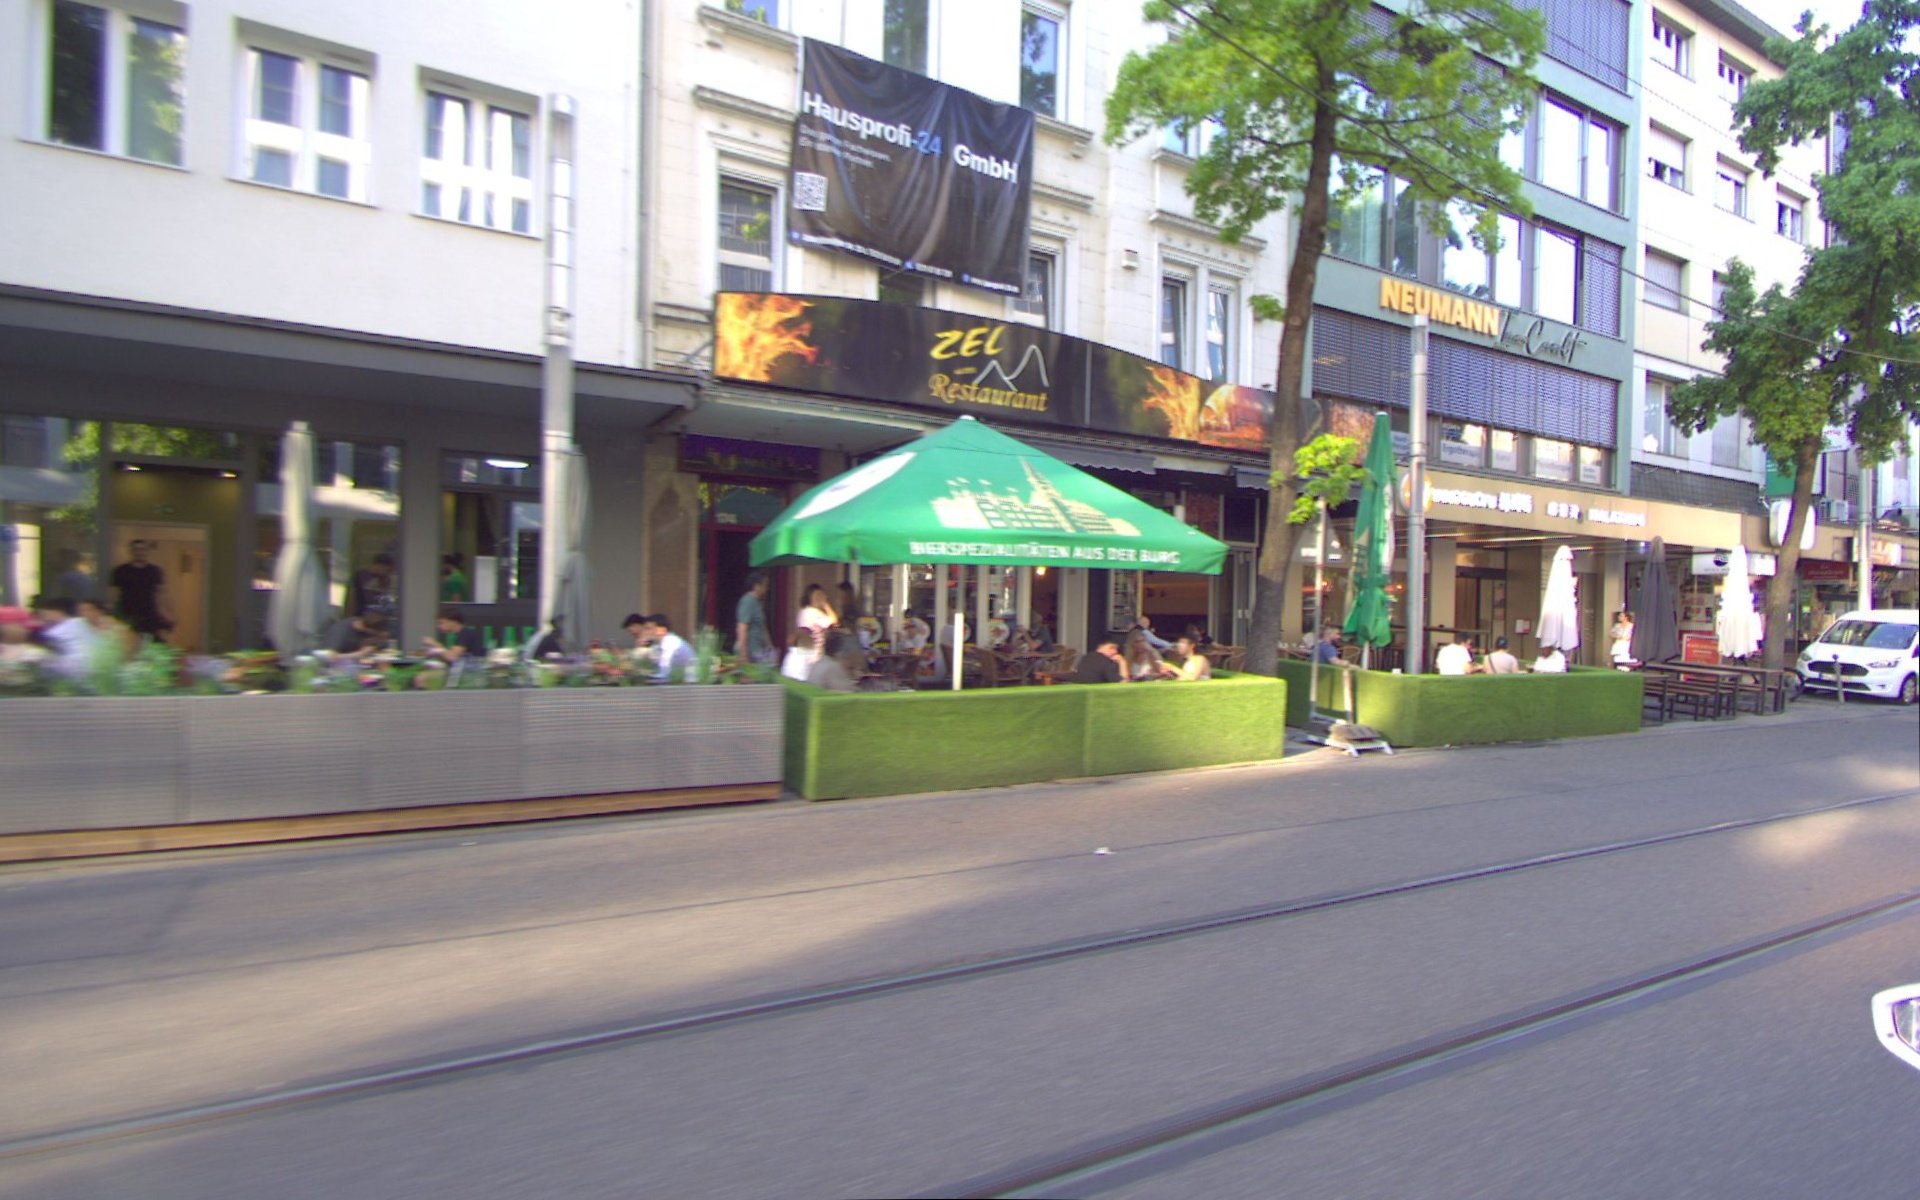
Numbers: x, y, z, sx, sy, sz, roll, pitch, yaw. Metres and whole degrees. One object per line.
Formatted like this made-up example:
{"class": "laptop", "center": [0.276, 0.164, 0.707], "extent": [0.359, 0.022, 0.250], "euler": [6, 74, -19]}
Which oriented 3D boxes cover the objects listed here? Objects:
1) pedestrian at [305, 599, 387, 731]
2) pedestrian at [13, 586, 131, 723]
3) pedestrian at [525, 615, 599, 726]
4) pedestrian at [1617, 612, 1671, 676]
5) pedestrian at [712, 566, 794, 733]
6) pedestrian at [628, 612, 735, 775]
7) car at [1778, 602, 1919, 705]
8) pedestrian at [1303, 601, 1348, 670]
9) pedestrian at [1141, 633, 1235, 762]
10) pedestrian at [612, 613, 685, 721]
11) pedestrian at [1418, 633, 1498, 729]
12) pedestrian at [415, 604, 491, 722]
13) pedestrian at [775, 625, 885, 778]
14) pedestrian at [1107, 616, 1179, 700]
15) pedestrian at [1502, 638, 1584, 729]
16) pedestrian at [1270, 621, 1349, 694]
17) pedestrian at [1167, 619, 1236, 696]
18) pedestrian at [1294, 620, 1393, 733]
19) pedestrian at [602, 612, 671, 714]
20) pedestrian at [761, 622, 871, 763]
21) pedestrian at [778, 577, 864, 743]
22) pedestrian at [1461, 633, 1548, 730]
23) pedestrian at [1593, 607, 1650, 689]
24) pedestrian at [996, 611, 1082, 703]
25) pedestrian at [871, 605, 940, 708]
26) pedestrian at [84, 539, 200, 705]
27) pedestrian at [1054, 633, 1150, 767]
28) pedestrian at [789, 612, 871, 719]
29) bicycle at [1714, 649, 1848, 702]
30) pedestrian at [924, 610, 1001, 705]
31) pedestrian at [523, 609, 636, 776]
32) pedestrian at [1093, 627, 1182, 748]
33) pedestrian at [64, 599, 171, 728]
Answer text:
{"class": "pedestrian", "center": [-6.403, 0.660, 10.496], "extent": [0.678, 1.316, 0.599], "euler": [1, 1, -29]}
{"class": "pedestrian", "center": [-8.021, 0.476, 9.098], "extent": [0.678, 1.177, 0.550], "euler": [1, 1, -29]}
{"class": "pedestrian", "center": [-4.442, 0.768, 11.207], "extent": [0.678, 1.177, 0.550], "euler": [1, 1, -29]}
{"class": "pedestrian", "center": [16.799, 1.072, 24.670], "extent": [0.756, 1.486, 0.765], "euler": [1, 3, -32]}
{"class": "pedestrian", "center": [-2.309, 0.524, 11.161], "extent": [0.688, 1.780, 0.675], "euler": [1, 2, -28]}
{"class": "pedestrian", "center": [-2.516, 0.811, 9.049], "extent": [0.771, 1.365, 0.705], "euler": [1, 1, -27]}
{"class": "car", "center": [19.403, 1.072, 21.118], "extent": [4.498, 1.890, 1.787], "euler": [1, 2, -29]}
{"class": "pedestrian", "center": [9.185, 0.890, 25.271], "extent": [0.724, 1.673, 0.695], "euler": [1, 2, -28]}
{"class": "pedestrian", "center": [2.414, 1.008, 10.654], "extent": [0.689, 1.262, 0.616], "euler": [1, 3, -30]}
{"class": "pedestrian", "center": [-3.620, 0.761, 11.674], "extent": [0.679, 1.190, 0.599], "euler": [1, 1, -29]}
{"class": "pedestrian", "center": [7.268, 1.161, 14.666], "extent": [0.788, 1.310, 0.653], "euler": [1, 3, -30]}
{"class": "pedestrian", "center": [-5.333, 0.649, 10.561], "extent": [0.678, 1.177, 0.550], "euler": [1, 1, -29]}
{"class": "pedestrian", "center": [-1.185, 0.887, 9.078], "extent": [0.762, 1.276, 0.705], "euler": [1, 1, -27]}
{"class": "pedestrian", "center": [2.856, 0.892, 15.720], "extent": [0.779, 1.230, 0.733], "euler": [1, 3, -30]}
{"class": "pedestrian", "center": [8.382, 1.181, 14.452], "extent": [0.788, 1.209, 0.653], "euler": [1, 3, -30]}
{"class": "pedestrian", "center": [6.143, 0.995, 17.654], "extent": [1.052, 1.204, 0.749], "euler": [1, 3, -30]}
{"class": "pedestrian", "center": [3.943, 0.925, 16.389], "extent": [0.779, 1.184, 0.696], "euler": [1, 3, -30]}
{"class": "pedestrian", "center": [4.964, 0.965, 13.021], "extent": [0.862, 1.361, 0.750], "euler": [1, 3, -30]}
{"class": "pedestrian", "center": [-3.946, 0.752, 12.248], "extent": [0.679, 1.173, 0.599], "euler": [1, 1, -29]}
{"class": "pedestrian", "center": [-1.423, 0.875, 9.849], "extent": [0.858, 1.276, 0.705], "euler": [1, 1, -27]}
{"class": "pedestrian", "center": [-1.493, 0.618, 10.756], "extent": [0.689, 1.693, 0.616], "euler": [1, 2, -30]}
{"class": "pedestrian", "center": [7.605, 1.124, 14.048], "extent": [0.862, 1.261, 0.653], "euler": [1, 3, -30]}
{"class": "pedestrian", "center": [13.457, 0.973, 20.443], "extent": [0.692, 1.595, 0.644], "euler": [1, 2, -30]}
{"class": "pedestrian", "center": [1.149, 0.821, 14.727], "extent": [0.934, 1.254, 0.773], "euler": [1, 3, -30]}
{"class": "pedestrian", "center": [-0.751, 0.757, 13.705], "extent": [0.689, 1.327, 0.616], "euler": [1, 3, -30]}
{"class": "pedestrian", "center": [-9.480, 0.240, 11.665], "extent": [0.673, 1.844, 0.767], "euler": [2, 1, 10]}
{"class": "pedestrian", "center": [1.442, 0.997, 10.258], "extent": [0.689, 1.262, 0.616], "euler": [1, 3, -30]}
{"class": "pedestrian", "center": [-1.627, 0.795, 12.547], "extent": [0.789, 1.259, 0.666], "euler": [1, 1, -30]}
{"class": "bicycle", "center": [16.048, 1.465, 19.682], "extent": [1.822, 0.876, 0.837], "euler": [2, 2, 9]}
{"class": "pedestrian", "center": [0.036, 0.799, 14.184], "extent": [0.779, 1.248, 0.733], "euler": [1, 3, -30]}
{"class": "pedestrian", "center": [-3.279, 0.765, 8.641], "extent": [0.797, 1.329, 0.686], "euler": [1, 1, -29]}
{"class": "pedestrian", "center": [1.989, 0.961, 11.279], "extent": [0.689, 1.262, 0.616], "euler": [1, 3, -30]}
{"class": "pedestrian", "center": [-8.167, 0.600, 9.760], "extent": [0.678, 1.177, 0.550], "euler": [1, 1, -29]}
